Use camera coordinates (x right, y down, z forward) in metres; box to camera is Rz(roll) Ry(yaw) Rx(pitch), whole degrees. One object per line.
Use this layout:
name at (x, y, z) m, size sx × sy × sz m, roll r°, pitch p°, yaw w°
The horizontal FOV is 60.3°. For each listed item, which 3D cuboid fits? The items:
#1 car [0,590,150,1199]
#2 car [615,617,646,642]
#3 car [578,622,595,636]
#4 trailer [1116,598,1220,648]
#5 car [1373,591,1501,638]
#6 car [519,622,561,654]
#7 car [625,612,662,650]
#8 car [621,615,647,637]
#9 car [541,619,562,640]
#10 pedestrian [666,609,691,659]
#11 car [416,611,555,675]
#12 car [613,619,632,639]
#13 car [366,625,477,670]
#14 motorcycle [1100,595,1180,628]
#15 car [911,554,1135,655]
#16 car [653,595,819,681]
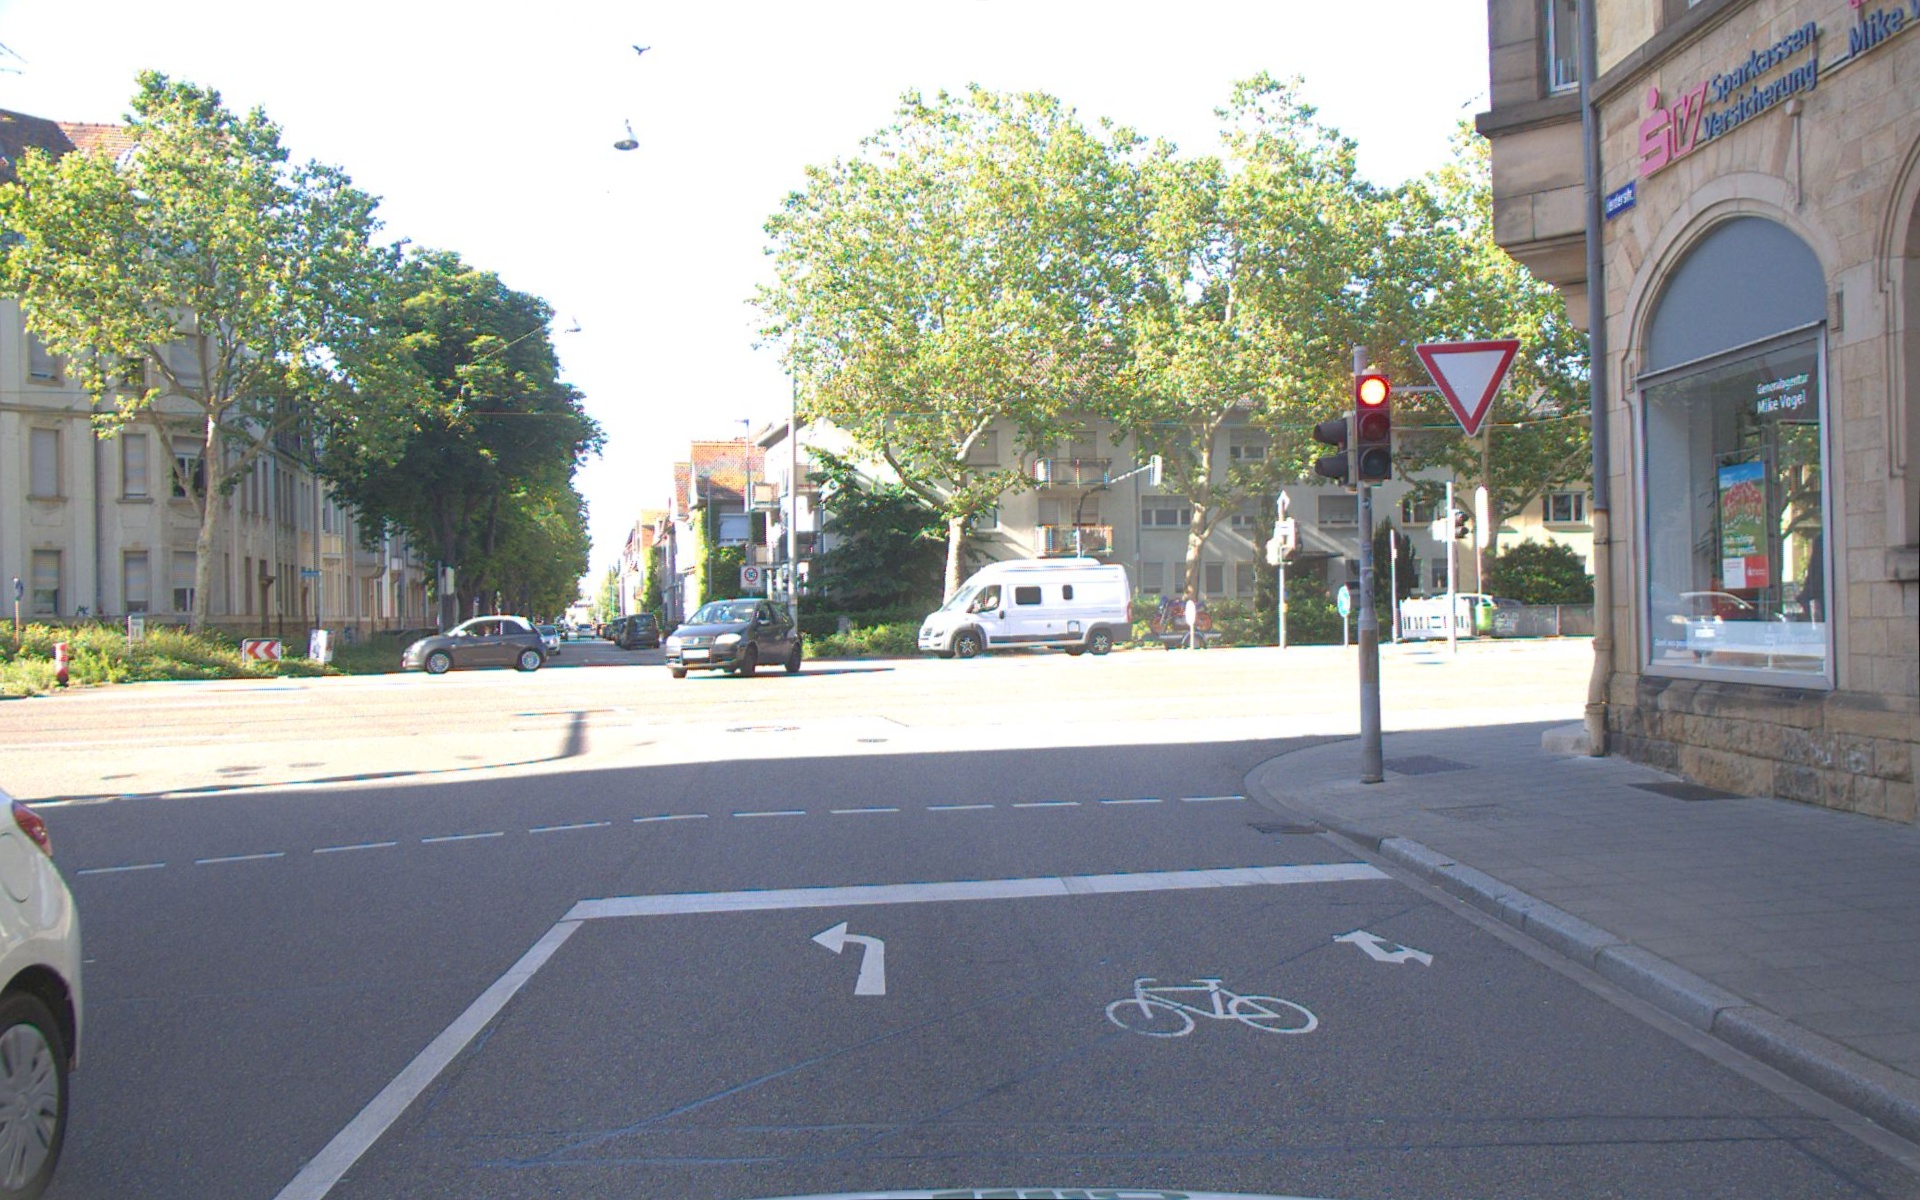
car at (-2.930, 0.752, 2.717) m, size 1.593 × 1.498 × 3.795 m, roll -2°, pitch 0°, yaw -6°
car at (-24.936, 2.244, 124.993) m, size 1.961 × 1.865 × 3.982 m, roll 0°, pitch -1°, yaw -16°
car at (-39.988, 3.123, 177.103) m, size 1.644 × 1.509 × 3.511 m, roll 0°, pitch -1°, yaw -12°
trailer at (5.981, 0.640, 47.611) m, size 2.699 × 1.334 × 1.263 m, roll -2°, pitch 0°, yaw -20°
car at (14.596, 0.436, 50.604) m, size 3.602 × 1.378 × 1.596 m, roll 0°, pitch -1°, yaw -24°
car at (-21.133, 1.908, 83.147) m, size 1.960 × 1.471 × 3.984 m, roll -2°, pitch 0°, yaw -15°
car at (-18.065, 1.761, 94.457) m, size 1.957 × 2.049 × 3.990 m, roll -2°, pitch 0°, yaw -10°
car at (-22.801, 1.786, 115.615) m, size 1.492 × 1.516 × 2.841 m, roll 0°, pitch -1°, yaw -17°
car at (-33.967, 2.417, 137.585) m, size 1.519 × 1.661 × 3.225 m, roll -2°, pitch 0°, yaw -11°
pedestrian at (-10.112, 1.207, 59.477) m, size 0.648 × 1.780 × 0.631 m, roll -1°, pitch -1°, yaw 43°
car at (-12.413, 1.106, 43.269) m, size 3.333 × 1.513 × 1.514 m, roll -2°, pitch 0°, yaw -23°
car at (-29.668, 2.500, 145.494) m, size 1.610 × 1.661 × 3.271 m, roll -2°, pitch 0°, yaw -11°
car at (-20.537, 1.795, 63.115) m, size 3.928 × 1.512 × 1.672 m, roll -2°, pitch 0°, yaw -20°
motorcycle at (7.144, 0.439, 65.616) m, size 2.818 × 1.199 × 1.471 m, roll -2°, pitch 0°, yaw -17°
car at (1.772, 0.101, 46.355) m, size 5.949 × 2.613 × 1.989 m, roll -2°, pitch 0°, yaw -19°
car at (-4.238, 0.694, 31.882) m, size 1.618 × 1.476 × 4.002 m, roll -2°, pitch 0°, yaw 17°
